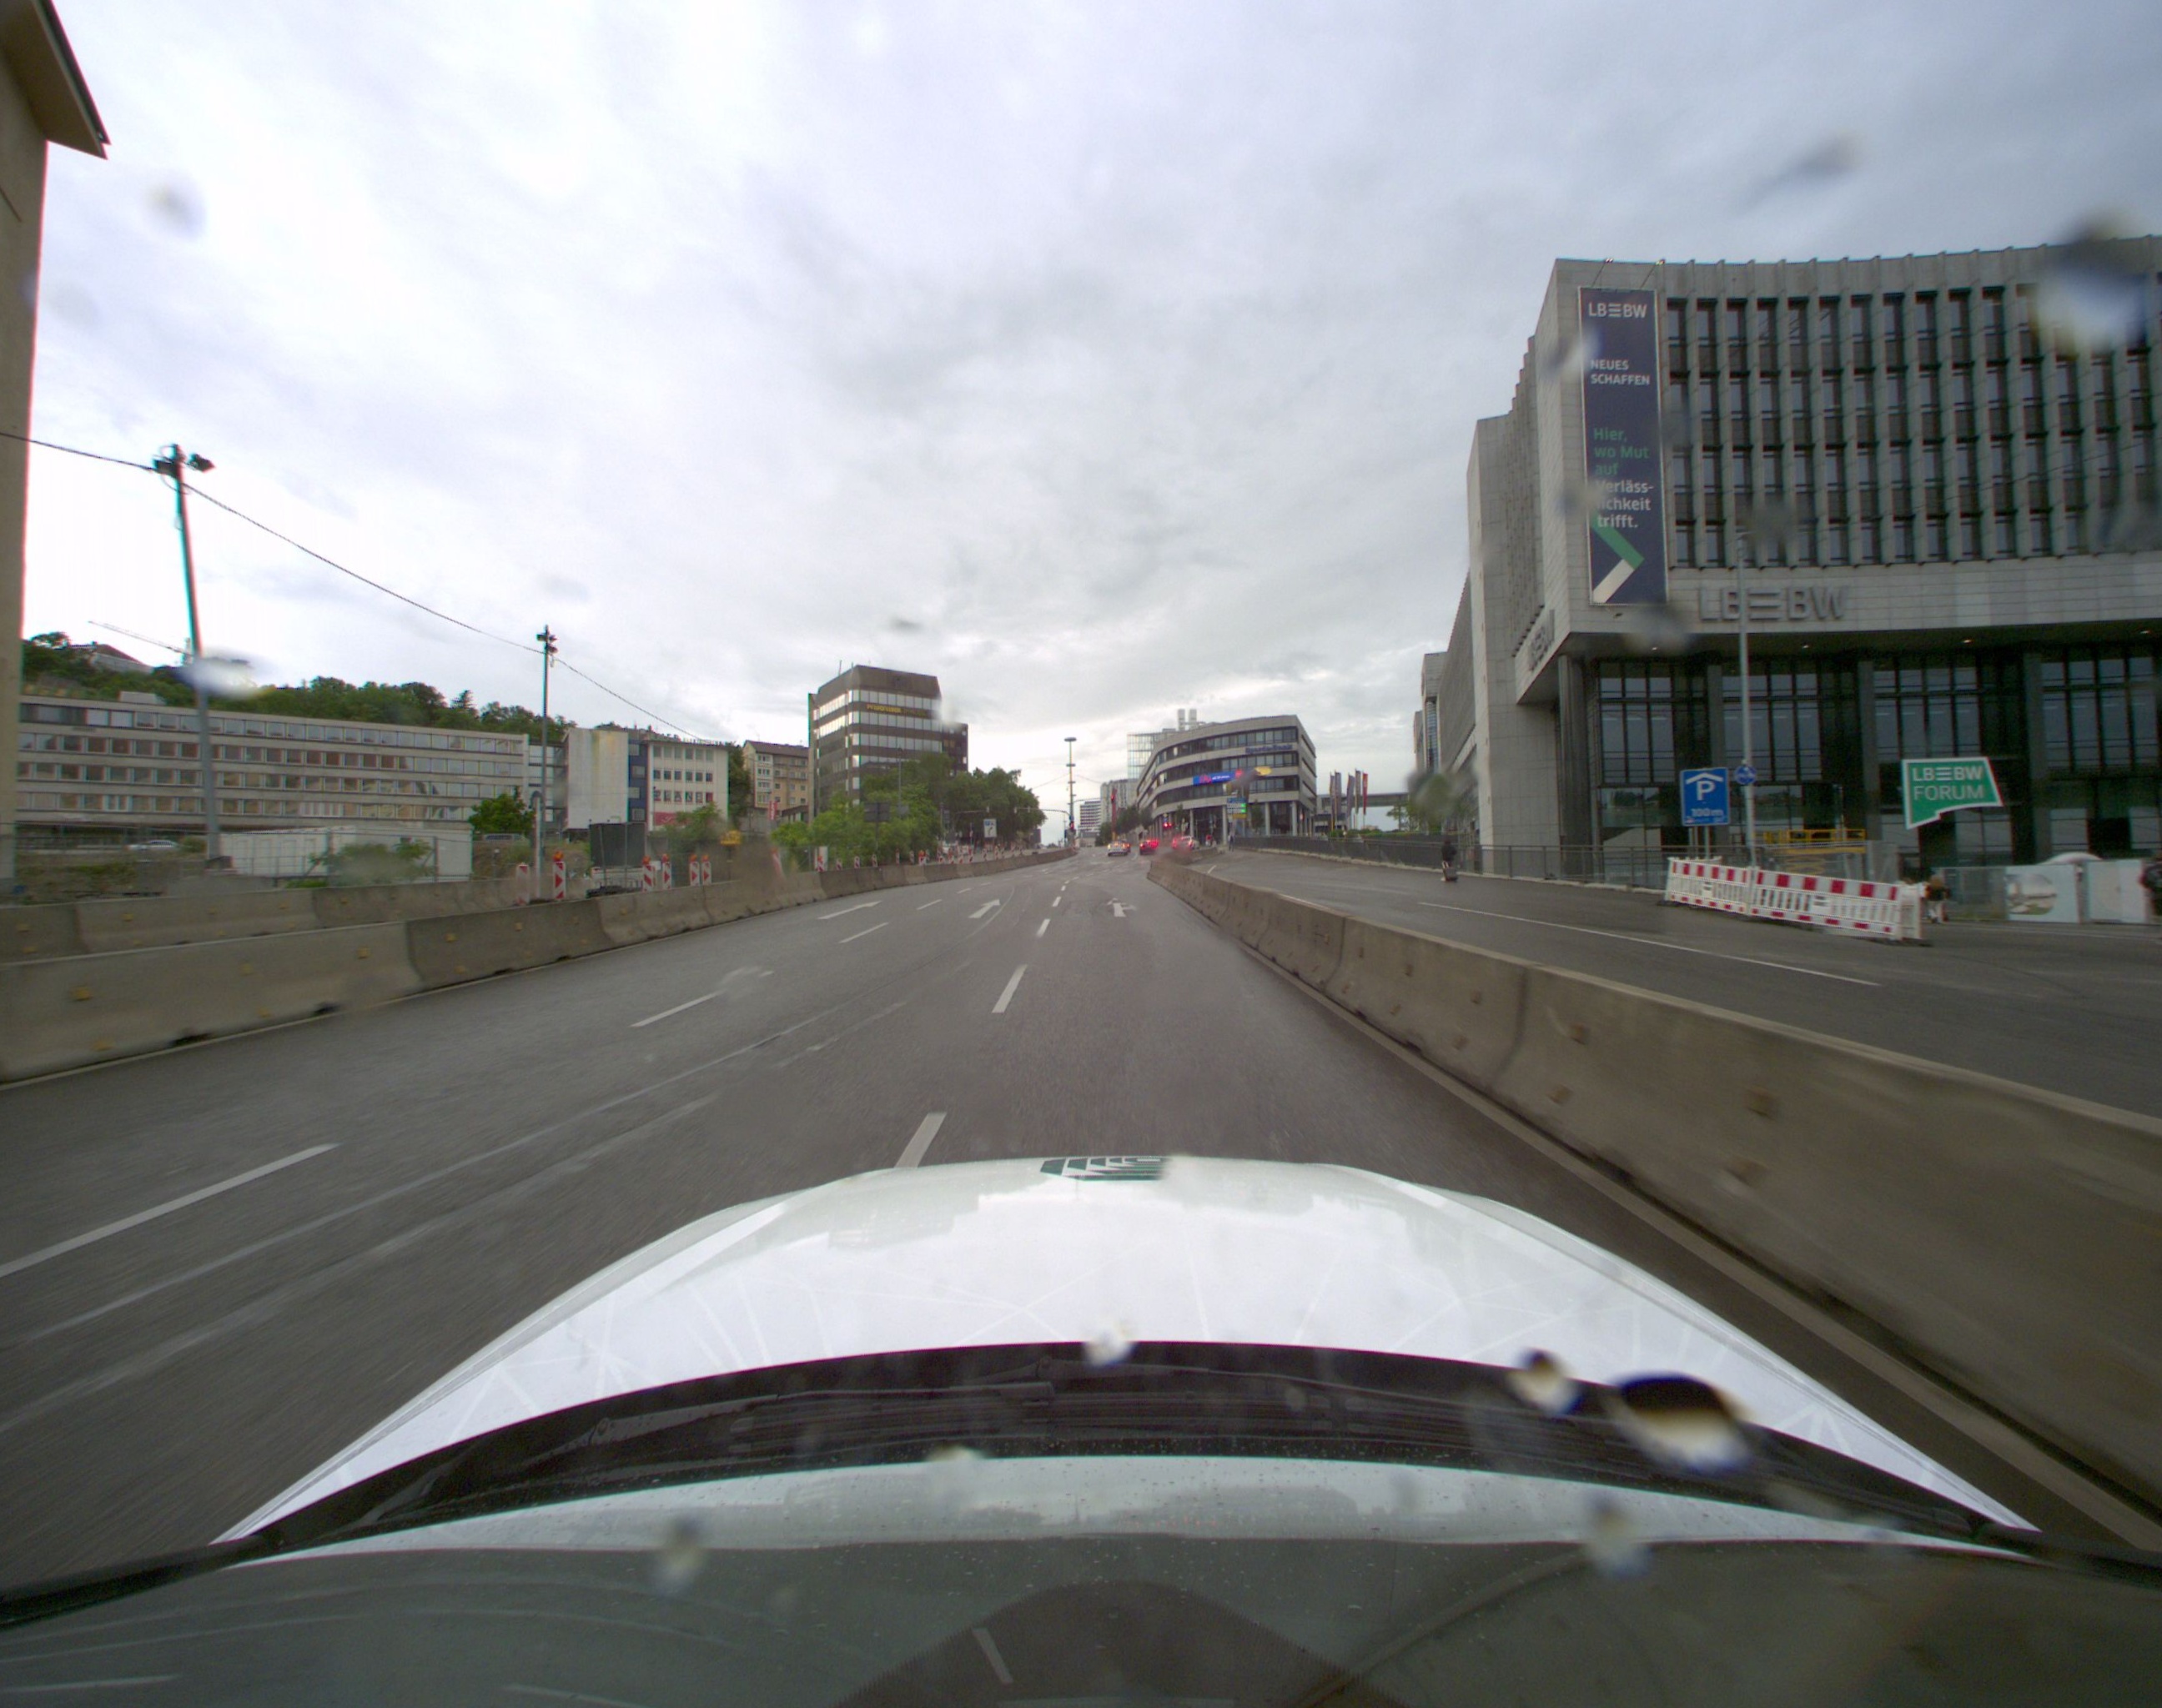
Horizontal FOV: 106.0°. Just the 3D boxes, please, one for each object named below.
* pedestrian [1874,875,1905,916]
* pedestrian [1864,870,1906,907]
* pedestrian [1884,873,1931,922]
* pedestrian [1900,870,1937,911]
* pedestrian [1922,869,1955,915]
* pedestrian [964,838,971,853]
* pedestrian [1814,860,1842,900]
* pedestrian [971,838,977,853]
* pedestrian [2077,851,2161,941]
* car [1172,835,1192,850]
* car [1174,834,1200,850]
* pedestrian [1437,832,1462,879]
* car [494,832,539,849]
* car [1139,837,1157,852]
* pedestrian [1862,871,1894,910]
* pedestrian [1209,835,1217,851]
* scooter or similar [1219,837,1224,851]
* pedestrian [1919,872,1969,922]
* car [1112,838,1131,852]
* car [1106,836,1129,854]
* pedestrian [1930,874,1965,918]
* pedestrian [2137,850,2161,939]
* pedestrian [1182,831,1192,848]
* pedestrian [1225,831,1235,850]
[{"bbox_3d":[33.874,1.731,34.132,0.858,1.637,1.014,-3,-2,45],"label":"pedestrian"},{"bbox_3d":[36.516,1.538,37.010,1.002,1.637,0.868,-1,-1,-3],"label":"pedestrian"},{"bbox_3d":[28.727,1.493,28.315,0.858,1.637,1.014,-2,-1,29],"label":"pedestrian"},{"bbox_3d":[35.105,1.526,34.154,0.857,1.637,1.015,-2,-1,34],"label":"pedestrian"},{"bbox_3d":[34.590,1.521,32.860,0.643,1.816,0.749,-1,-1,-30],"label":"pedestrian"},{"bbox_3d":[-14.919,-1.101,107.052,0.758,1.922,0.742,-1,-1,3],"label":"pedestrian"},{"bbox_3d":[30.847,1.084,33.631,0.697,1.616,0.569,-2,-1,33],"label":"pedestrian"},{"bbox_3d":[-14.099,-1.117,107.086,0.669,1.901,0.776,-1,-1,3],"label":"pedestrian"},{"bbox_3d":[19.591,0.767,15.333,0.717,1.637,0.922,-2,-1,29],"label":"pedestrian"},{"bbox_3d":[10.138,-1.098,82.130,1.694,1.451,4.619,-1,0,3],"label":"car"},{"bbox_3d":[11.611,-1.338,88.693,1.756,1.634,4.605,-1,1,21],"label":"car"},{"bbox_3d":[13.329,0.036,29.462,0.722,1.652,1.067,-2,0,28],"label":"pedestrian"},{"bbox_3d":[-62.802,-1.498,90.614,4.018,1.706,1.978,-1,-1,-37],"label":"car"},{"bbox_3d":[6.525,-0.875,79.458,1.747,1.407,4.232,0,0,4],"label":"car"},{"bbox_3d":[34.531,1.557,35.275,1.013,1.637,0.858,0,-2,-40],"label":"pedestrian"},{"bbox_3d":[16.800,-1.391,103.725,0.833,1.904,0.866,-2,-1,26],"label":"pedestrian"},{"bbox_3d":[11.594,-0.827,67.055,0.346,1.162,0.575,-2,0,15],"label":"scooter or similar"},{"bbox_3d":[29.523,1.467,27.872,0.858,1.637,1.014,-2,-1,29],"label":"pedestrian"},{"bbox_3d":[4.317,-0.967,87.457,1.735,1.443,3.997,-2,1,-2],"label":"car"},{"bbox_3d":[3.583,-0.899,78.787,1.954,1.548,4.225,-2,1,5],"label":"car"},{"bbox_3d":[32.678,1.566,30.706,0.655,1.637,0.734,-1,-1,-30],"label":"pedestrian"},{"bbox_3d":[20.212,0.742,14.925,0.691,1.637,0.922,-2,-1,29],"label":"pedestrian"},{"bbox_3d":[13.538,-1.828,103.919,0.856,2.098,0.898,0,1,-23],"label":"pedestrian"},{"bbox_3d":[13.774,-1.240,75.531,0.727,1.711,0.843,-1,-1,0],"label":"pedestrian"}]
